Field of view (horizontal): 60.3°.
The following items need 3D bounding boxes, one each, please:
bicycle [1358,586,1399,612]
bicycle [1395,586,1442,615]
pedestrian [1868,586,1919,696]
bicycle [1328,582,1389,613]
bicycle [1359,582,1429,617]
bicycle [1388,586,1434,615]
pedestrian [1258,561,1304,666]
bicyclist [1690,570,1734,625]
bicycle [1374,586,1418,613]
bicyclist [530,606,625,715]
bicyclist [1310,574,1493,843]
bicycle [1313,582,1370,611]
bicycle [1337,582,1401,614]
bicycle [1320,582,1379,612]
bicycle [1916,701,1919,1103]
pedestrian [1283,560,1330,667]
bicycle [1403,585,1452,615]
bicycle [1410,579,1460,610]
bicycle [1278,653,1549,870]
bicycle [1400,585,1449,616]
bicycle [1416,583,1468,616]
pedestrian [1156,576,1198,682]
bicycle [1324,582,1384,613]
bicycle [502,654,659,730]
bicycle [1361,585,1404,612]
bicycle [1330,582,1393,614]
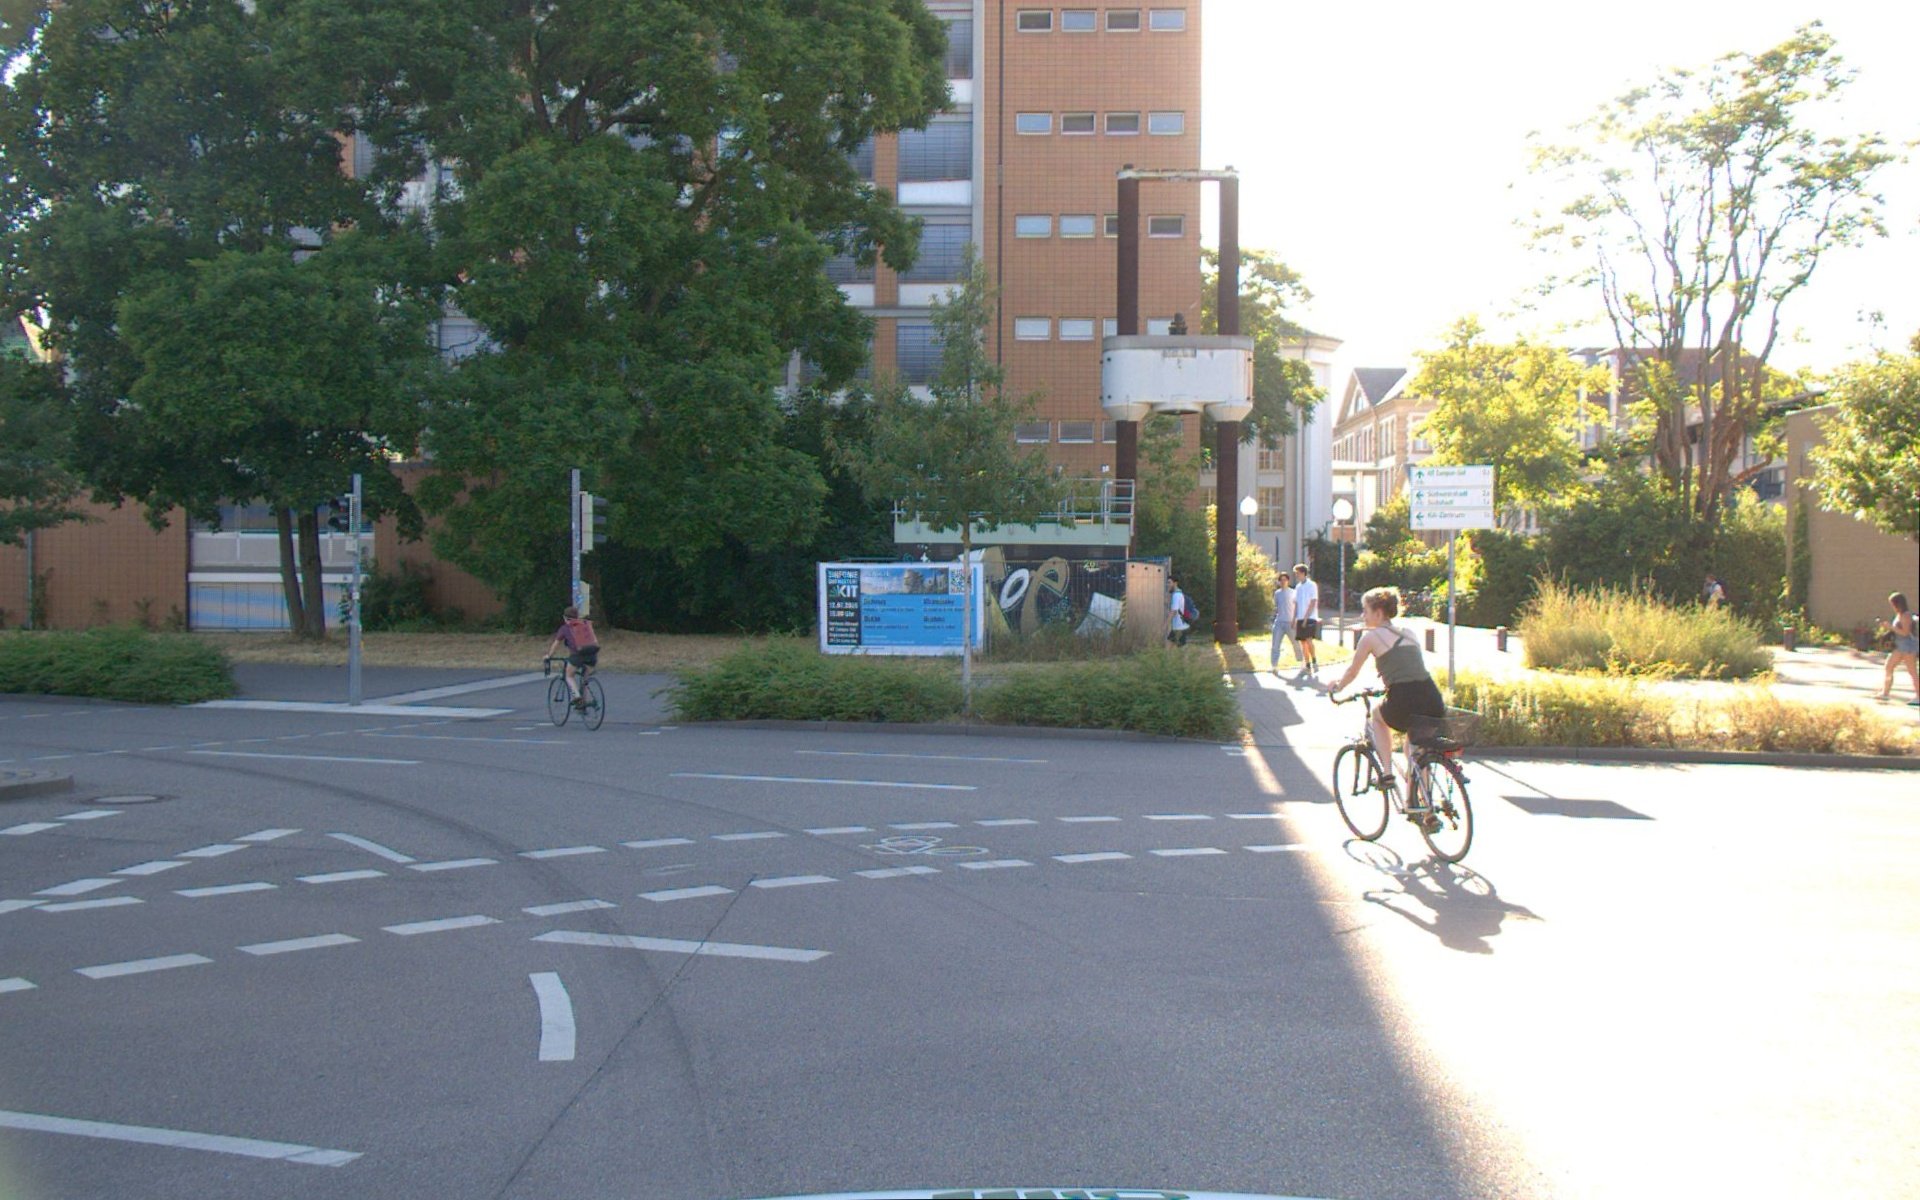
[{"bbox_3d":[19.137,-0.065,75.652,1.756,1.127,0.500,2,0,6],"label":"bicycle"},{"bbox_3d":[18.611,0.024,67.208,1.756,1.127,0.500,2,0,6],"label":"bicycle"},{"bbox_3d":[13.917,0.595,24.508,0.624,1.602,0.623,0,1,7],"label":"pedestrian"},{"bbox_3d":[19.348,-0.118,80.351,2.811,1.405,0.683,2,0,6],"label":"bicycle"},{"bbox_3d":[18.858,-0.027,71.878,2.811,1.405,0.683,2,0,6],"label":"bicycle"},{"bbox_3d":[18.726,0.009,68.665,1.756,1.127,0.500,2,0,6],"label":"bicycle"},{"bbox_3d":[5.875,0.236,30.314,0.569,1.902,0.616,0,1,-32],"label":"pedestrian"},{"bbox_3d":[20.582,-0.071,45.271,0.895,1.459,0.623,2,0,6],"label":"bicyclist"},{"bbox_3d":[18.746,-0.021,71.116,1.756,1.127,0.500,2,0,6],"label":"bicycle"},{"bbox_3d":[-5.114,0.800,22.104,1.053,1.409,0.720,-1,-1,33],"label":"bicyclist"},{"bbox_3d":[2.942,0.681,11.120,0.764,1.706,1.089,0,1,-13],"label":"bicyclist"},{"bbox_3d":[19.754,-0.171,85.710,2.811,1.405,0.683,2,0,6],"label":"bicycle"},{"bbox_3d":[19.135,-0.088,77.448,2.811,1.405,0.683,2,0,6],"label":"bicycle"},{"bbox_3d":[19.704,-0.147,83.644,2.811,1.405,0.683,2,0,6],"label":"bicycle"},{"bbox_3d":[3.268,0.904,3.595,0.762,1.176,2.579,0,1,-4],"label":"bicycle"},{"bbox_3d":[6.228,0.229,29.749,0.569,1.902,0.616,0,1,-32],"label":"pedestrian"},{"bbox_3d":[18.327,-0.005,64.915,1.756,1.127,0.500,2,0,6],"label":"bicycle"},{"bbox_3d":[18.144,-0.200,63.235,1.756,1.127,0.500,2,0,6],"label":"bicycle"},{"bbox_3d":[2.950,1.006,11.073,0.764,1.176,2.284,0,1,-13],"label":"bicycle"},{"bbox_3d":[18.457,0.015,65.714,1.756,1.127,0.500,2,0,6],"label":"bicycle"},{"bbox_3d":[17.880,-0.019,61.316,1.756,1.127,0.500,2,0,6],"label":"bicycle"},{"bbox_3d":[3.607,0.472,27.469,0.615,1.729,0.623,0,1,15],"label":"pedestrian"},{"bbox_3d":[19.533,-0.133,82.054,2.811,1.405,0.683,2,0,6],"label":"bicycle"},{"bbox_3d":[-5.081,1.207,22.076,2.202,0.969,0.720,-1,-1,33],"label":"bicycle"},{"bbox_3d":[18.835,-0.052,73.737,1.756,1.127,0.500,2,0,6],"label":"bicycle"},{"bbox_3d":[19.277,-0.109,79.484,2.811,1.405,0.683,2,0,6],"label":"bicycle"}]
